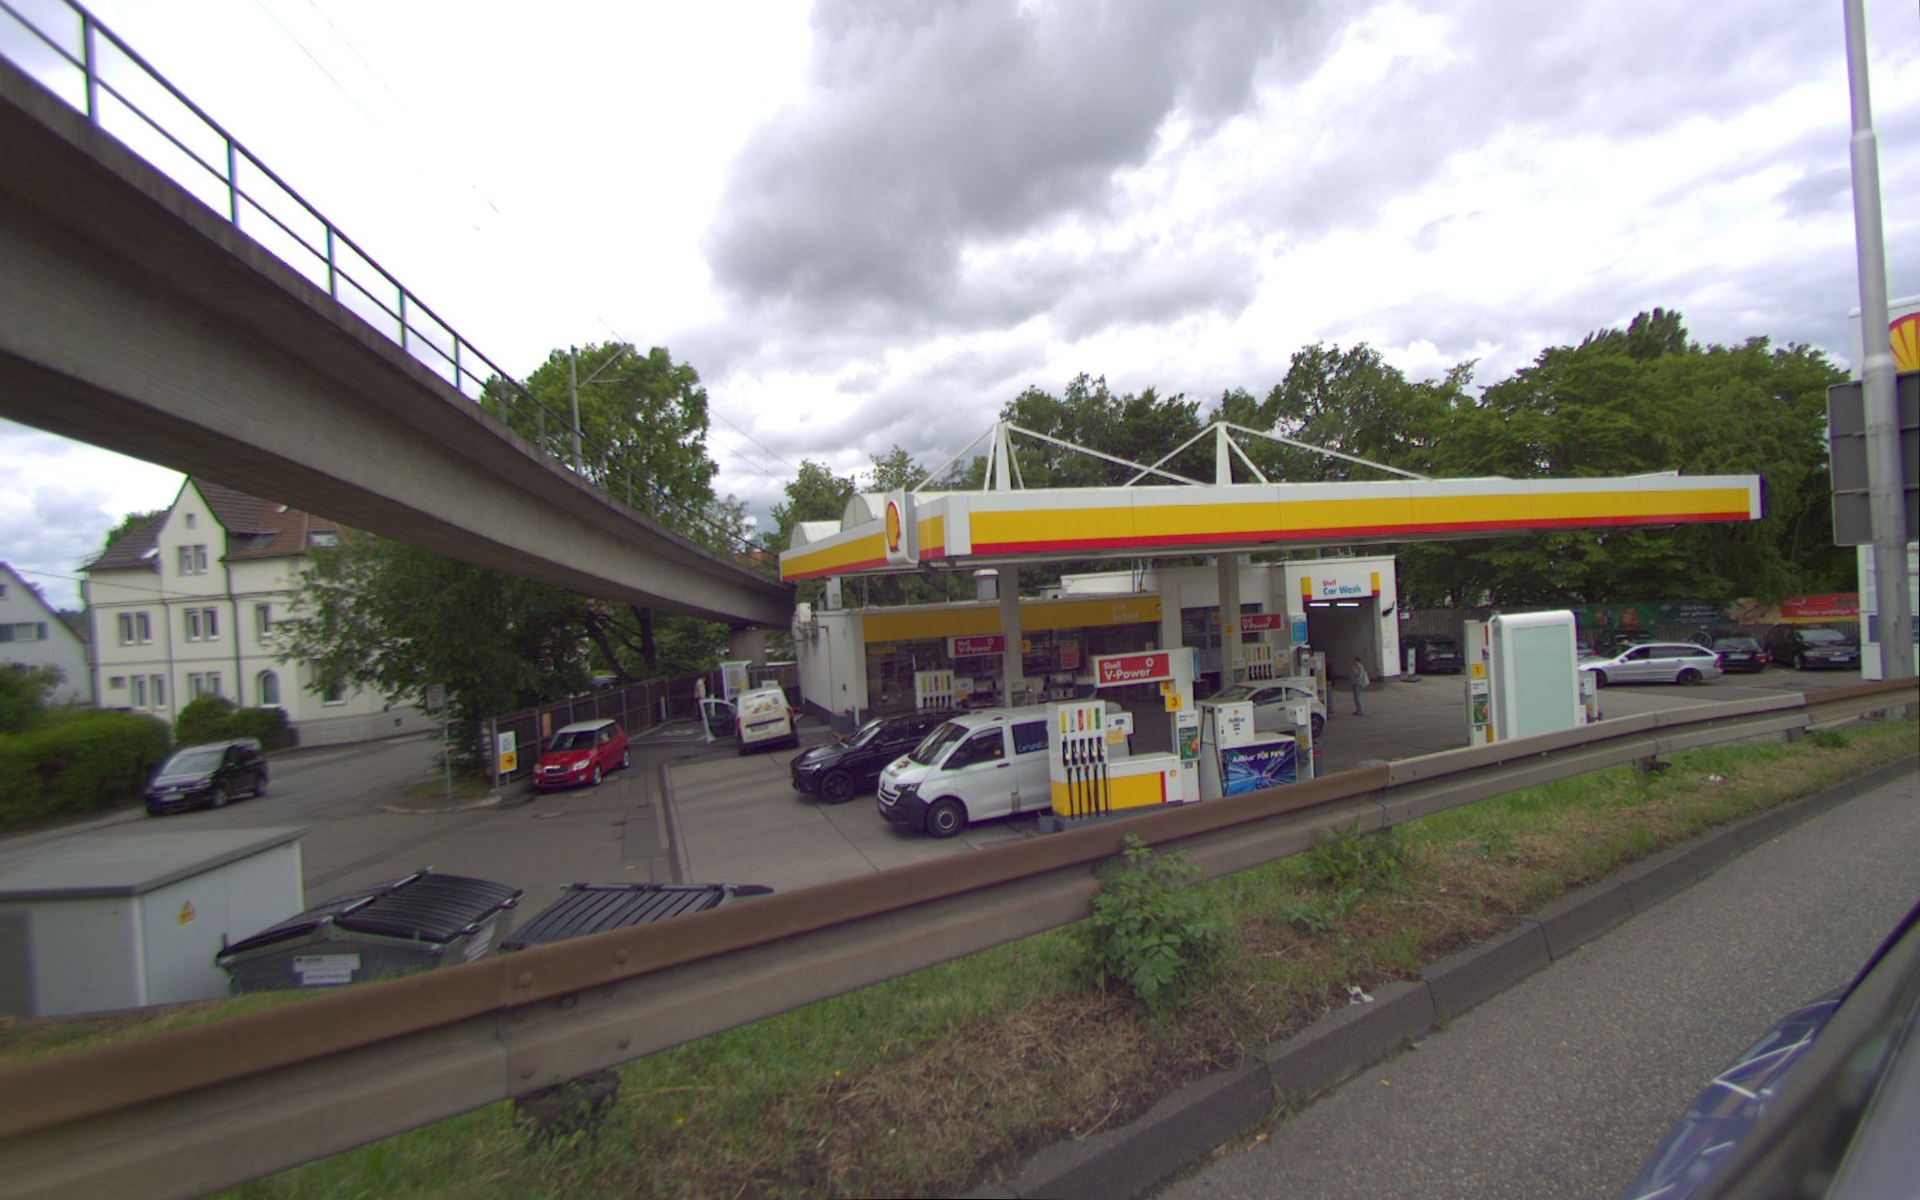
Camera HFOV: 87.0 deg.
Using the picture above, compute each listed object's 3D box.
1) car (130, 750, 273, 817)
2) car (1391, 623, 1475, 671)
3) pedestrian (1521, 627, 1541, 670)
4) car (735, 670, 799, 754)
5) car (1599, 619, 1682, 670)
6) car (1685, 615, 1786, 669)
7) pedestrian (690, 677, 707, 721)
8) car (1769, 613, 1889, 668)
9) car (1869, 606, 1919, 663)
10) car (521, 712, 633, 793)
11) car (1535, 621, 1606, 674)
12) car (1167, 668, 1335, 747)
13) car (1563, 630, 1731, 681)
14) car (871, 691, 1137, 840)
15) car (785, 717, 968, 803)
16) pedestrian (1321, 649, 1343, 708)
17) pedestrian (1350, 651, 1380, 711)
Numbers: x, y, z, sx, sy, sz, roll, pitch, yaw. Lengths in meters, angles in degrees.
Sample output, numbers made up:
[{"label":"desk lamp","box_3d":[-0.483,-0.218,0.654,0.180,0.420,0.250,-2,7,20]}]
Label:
[{"label":"car","box_3d":[-22.047,5.296,29.577,1.571,1.366,3.586,-5,-3,-3]},{"label":"car","box_3d":[18.392,1.806,39.534,1.693,1.453,4.101,-2,3,6]},{"label":"pedestrian","box_3d":[21.139,1.805,37.441,0.463,1.559,0.428,-4,-4,21]},{"label":"car","box_3d":[-6.022,3.394,31.313,1.705,1.962,3.886,-4,2,-12]},{"label":"car","box_3d":[24.942,1.583,37.241,1.715,1.453,4.188,-1,3,23]},{"label":"car","box_3d":[27.527,1.450,36.073,1.715,1.453,4.263,-4,1,23]},{"label":"pedestrian","box_3d":[-10.023,3.792,38.771,0.498,1.615,0.426,-3,2,-6]},{"label":"car","box_3d":[29.746,1.342,34.801,1.714,1.444,4.265,-4,1,22]},{"label":"car","box_3d":[32.626,1.155,33.826,1.713,1.610,4.269,-4,1,19]},{"label":"car","box_3d":[-10.506,4.145,28.004,1.627,1.476,3.628,-3,2,1]},{"label":"car","box_3d":[22.369,1.701,37.229,1.610,1.538,4.071,-1,2,23]},{"label":"car","box_3d":[7.548,2.741,26.339,3.797,1.504,1.745,-4,1,-17]},{"label":"car","box_3d":[22.485,1.830,33.283,4.233,1.449,1.594,-2,2,17]},{"label":"car","box_3d":[0.824,3.035,19.223,4.615,2.035,1.744,-4,0,-18]},{"label":"car","box_3d":[-1.920,3.564,22.909,3.797,1.505,1.743,-2,-4,-15]},{"label":"pedestrian","box_3d":[11.081,2.334,30.161,0.423,1.726,0.493,-1,0,-9]},{"label":"pedestrian","box_3d":[11.897,2.368,29.732,0.597,1.726,0.545,0,-1,-23]}]
